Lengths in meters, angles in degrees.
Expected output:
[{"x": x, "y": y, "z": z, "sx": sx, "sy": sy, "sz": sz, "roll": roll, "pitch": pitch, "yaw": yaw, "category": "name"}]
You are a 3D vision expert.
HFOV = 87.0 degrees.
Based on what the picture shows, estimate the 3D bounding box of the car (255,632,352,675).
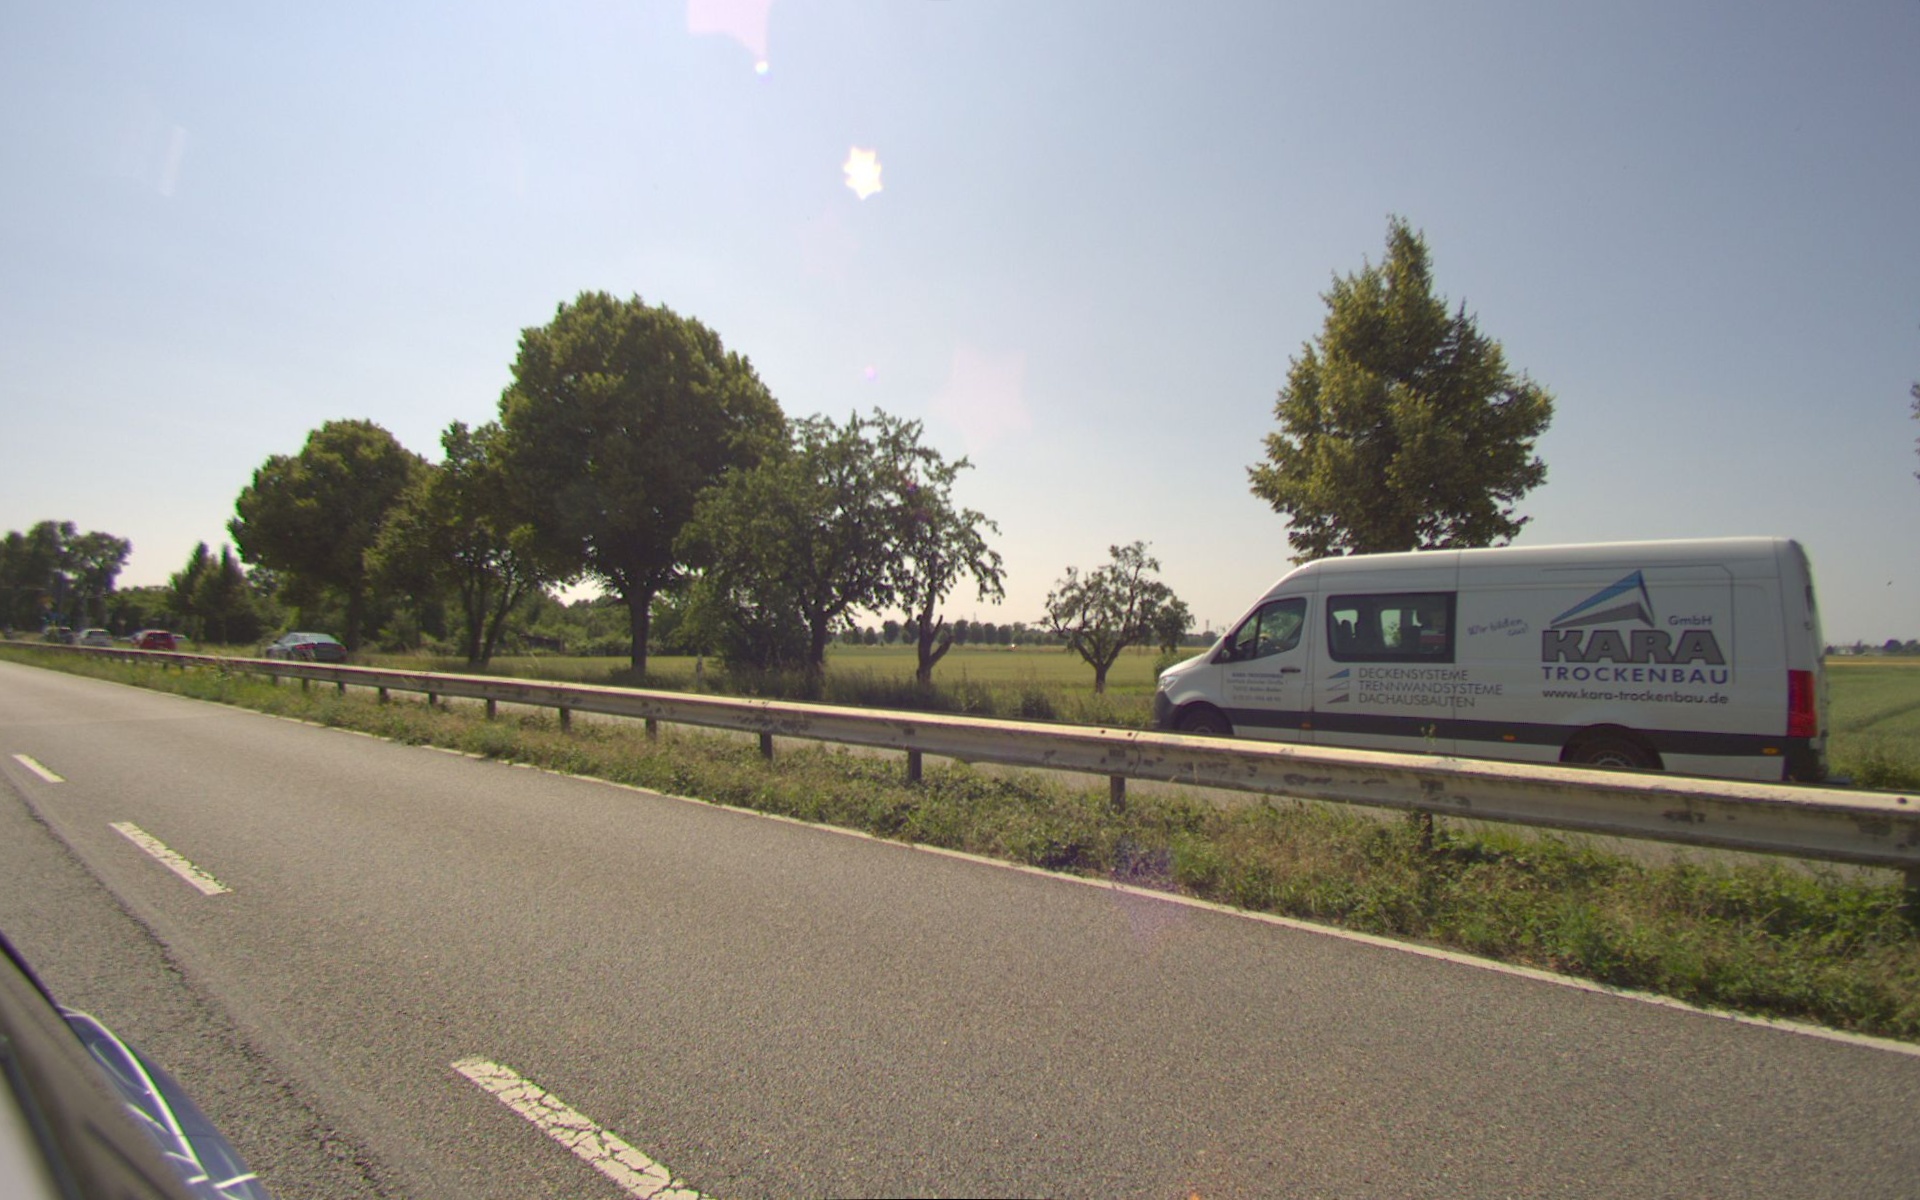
[{"x": -26.136, "y": 2.084, "z": 40.246, "sx": 4.862, "sy": 1.603, "sz": 1.935, "roll": -1, "pitch": -3, "yaw": 41, "category": "car"}]

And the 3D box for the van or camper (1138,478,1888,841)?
[{"x": 5.704, "y": 0.575, "z": 11.553, "sx": 7.089, "sy": 2.971, "sz": 2.360, "roll": -1, "pitch": -3, "yaw": 42, "category": "van or camper"}]

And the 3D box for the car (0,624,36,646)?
[{"x": -70.743, "y": 2.619, "z": 75.839, "sx": 3.748, "sy": 1.603, "sz": 1.742, "roll": -1, "pitch": -3, "yaw": 41, "category": "car"}]

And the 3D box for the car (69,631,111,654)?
[{"x": -63.950, "y": 3.114, "z": 74.380, "sx": 3.892, "sy": 1.603, "sz": 1.742, "roll": -1, "pitch": -3, "yaw": 41, "category": "car"}]

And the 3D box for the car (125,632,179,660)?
[{"x": -47.805, "y": 2.709, "z": 59.861, "sx": 3.892, "sy": 1.603, "sz": 1.742, "roll": -1, "pitch": -3, "yaw": 41, "category": "car"}]

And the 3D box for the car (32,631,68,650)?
[{"x": -76.369, "y": 3.384, "z": 84.948, "sx": 3.892, "sy": 1.603, "sz": 1.742, "roll": -1, "pitch": -3, "yaw": 41, "category": "car"}]
